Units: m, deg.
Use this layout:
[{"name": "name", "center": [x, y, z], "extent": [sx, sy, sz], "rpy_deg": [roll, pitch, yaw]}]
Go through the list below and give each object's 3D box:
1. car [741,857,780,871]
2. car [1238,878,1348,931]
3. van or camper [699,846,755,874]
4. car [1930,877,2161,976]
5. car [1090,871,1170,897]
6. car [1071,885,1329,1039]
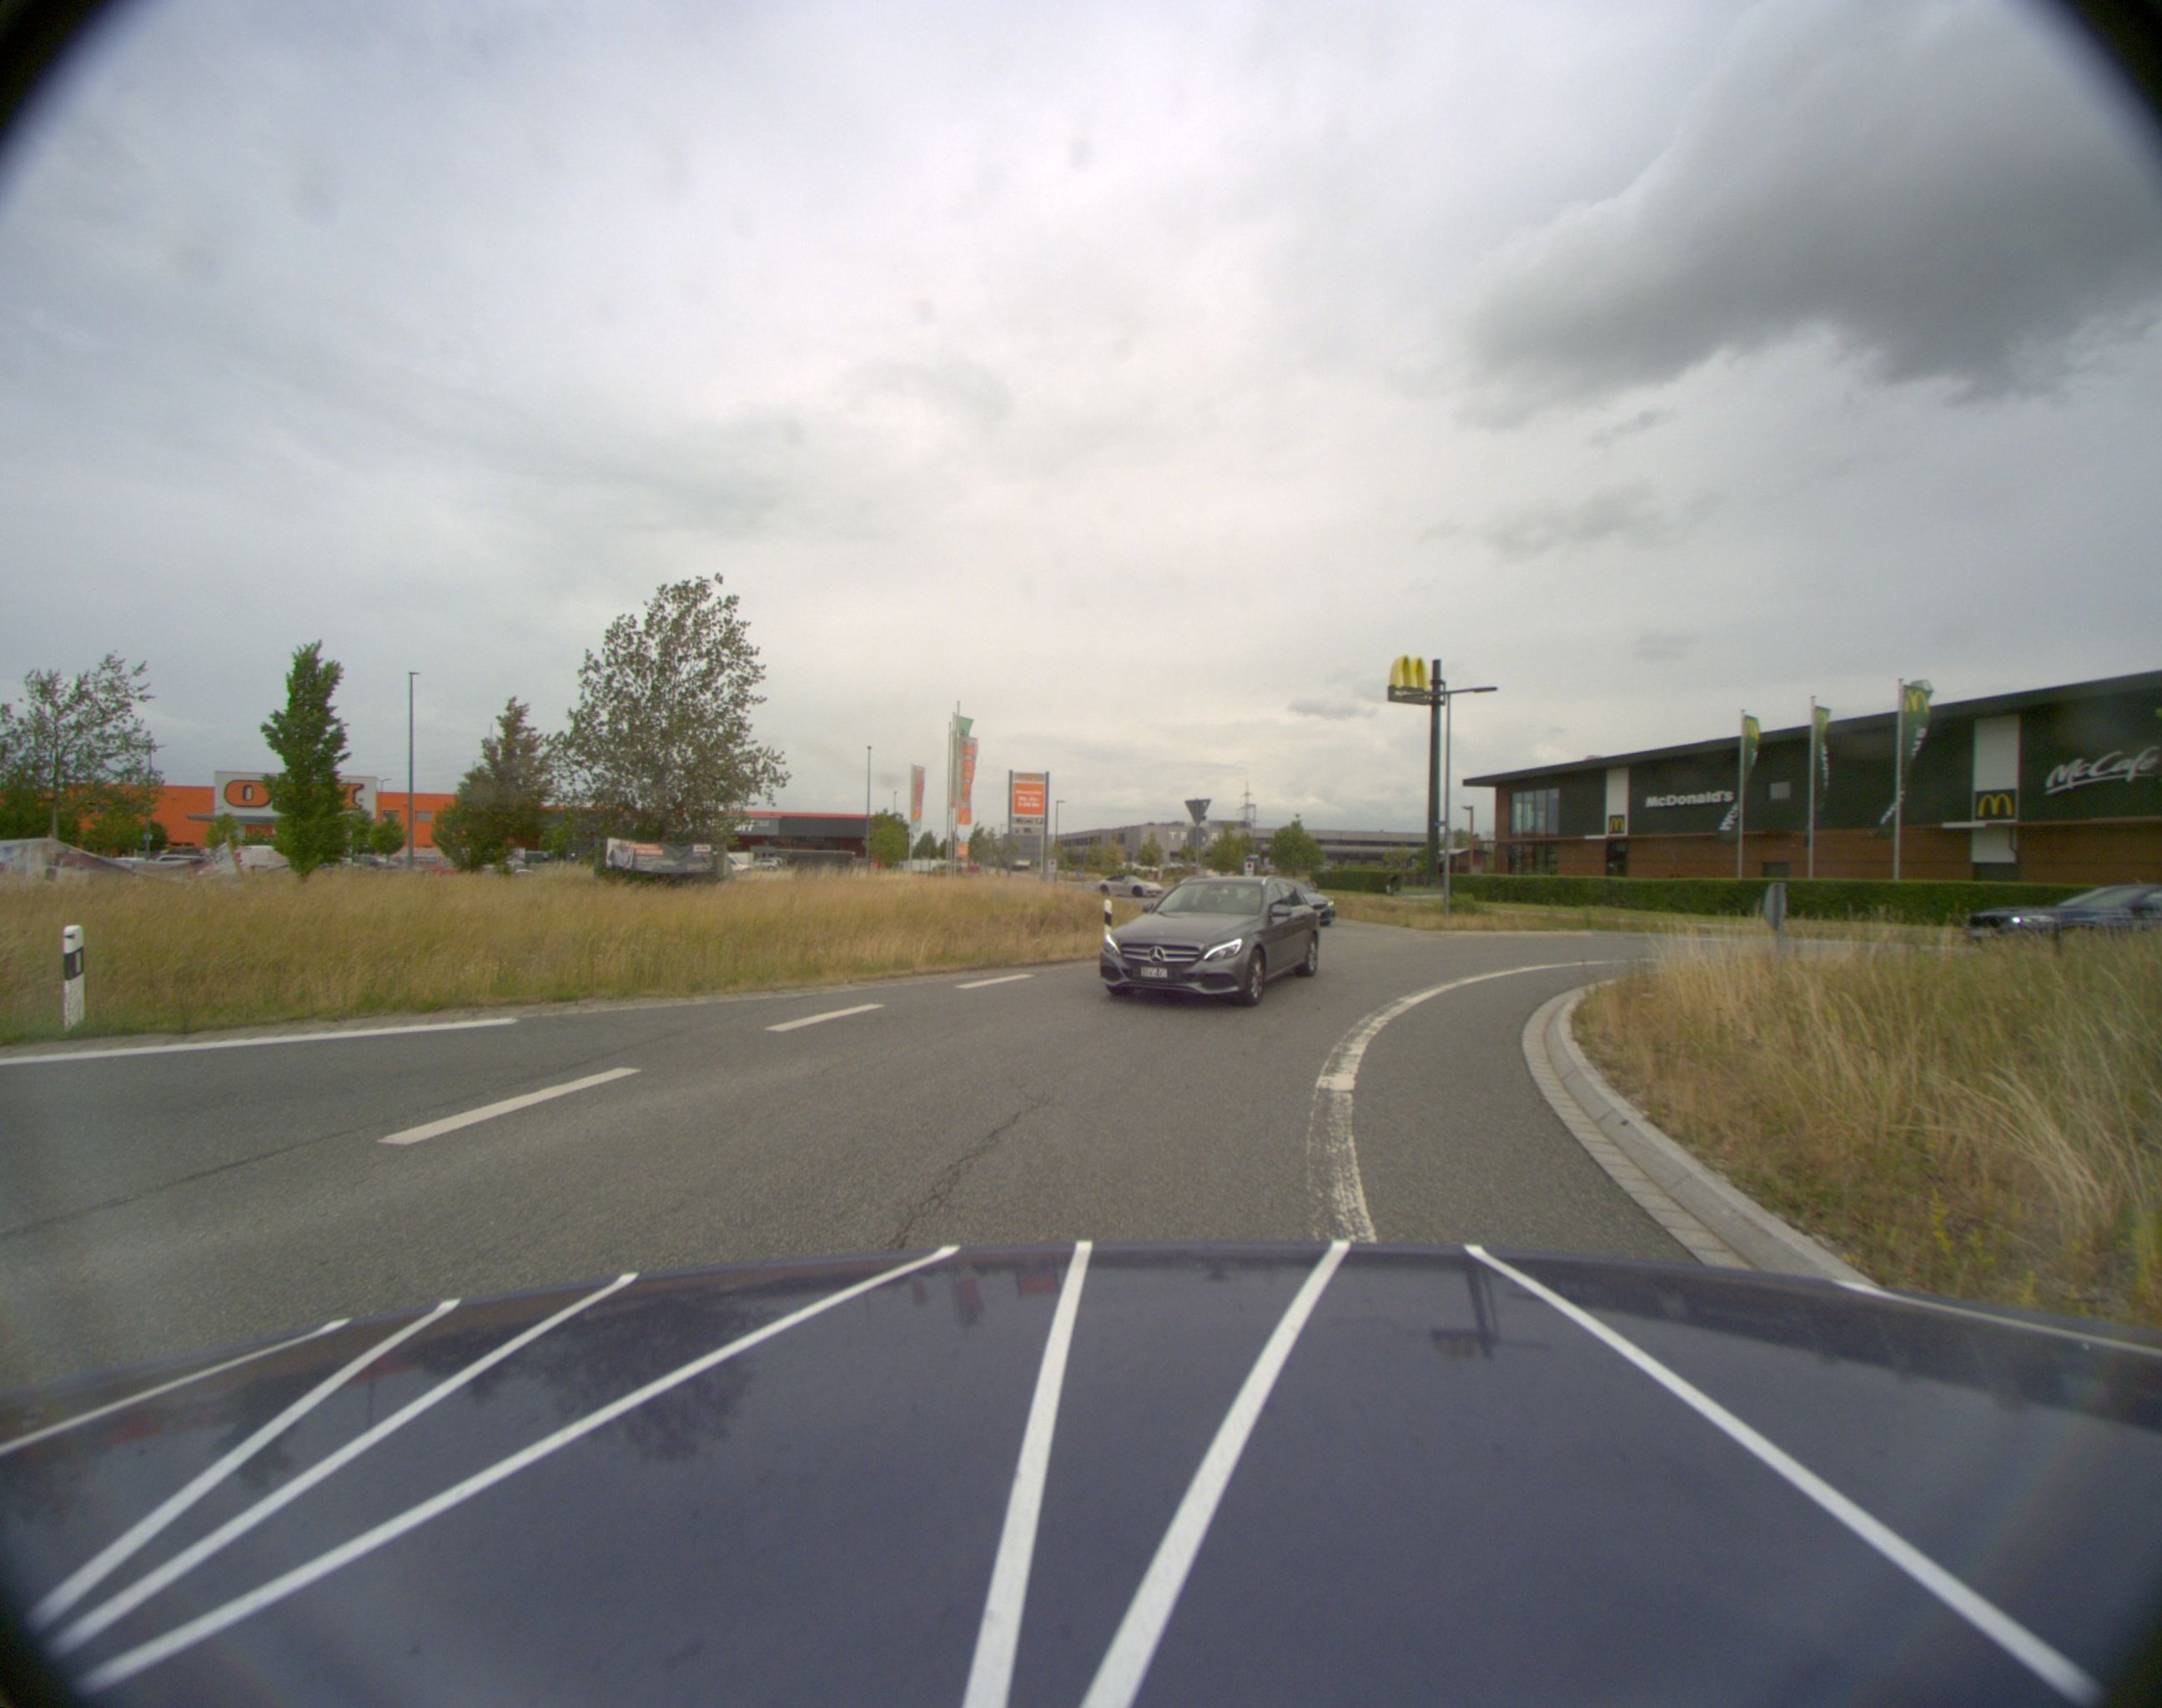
[{"name": "car", "center": [-38.418, 1.207, 91.251], "extent": [4.001, 1.709, 1.998], "rpy_deg": [1, 0, -11]}, {"name": "car", "center": [6.868, 1.595, 25.114], "extent": [1.998, 1.495, 4.305], "rpy_deg": [0, 0, -7]}, {"name": "van or camper", "center": [-35.834, 0.631, 77.023], "extent": [4.765, 2.775, 1.998], "rpy_deg": [1, 0, -12]}, {"name": "car", "center": [20.450, 1.430, 15.486], "extent": [3.995, 1.709, 1.844], "rpy_deg": [-2, 0, 5]}, {"name": "car", "center": [2.960, 1.801, 46.815], "extent": [4.720, 1.390, 1.832], "rpy_deg": [1, 1, 39]}, {"name": "car", "center": [1.808, 1.171, 9.951], "extent": [1.902, 1.488, 4.349], "rpy_deg": [0, -2, 30]}]
